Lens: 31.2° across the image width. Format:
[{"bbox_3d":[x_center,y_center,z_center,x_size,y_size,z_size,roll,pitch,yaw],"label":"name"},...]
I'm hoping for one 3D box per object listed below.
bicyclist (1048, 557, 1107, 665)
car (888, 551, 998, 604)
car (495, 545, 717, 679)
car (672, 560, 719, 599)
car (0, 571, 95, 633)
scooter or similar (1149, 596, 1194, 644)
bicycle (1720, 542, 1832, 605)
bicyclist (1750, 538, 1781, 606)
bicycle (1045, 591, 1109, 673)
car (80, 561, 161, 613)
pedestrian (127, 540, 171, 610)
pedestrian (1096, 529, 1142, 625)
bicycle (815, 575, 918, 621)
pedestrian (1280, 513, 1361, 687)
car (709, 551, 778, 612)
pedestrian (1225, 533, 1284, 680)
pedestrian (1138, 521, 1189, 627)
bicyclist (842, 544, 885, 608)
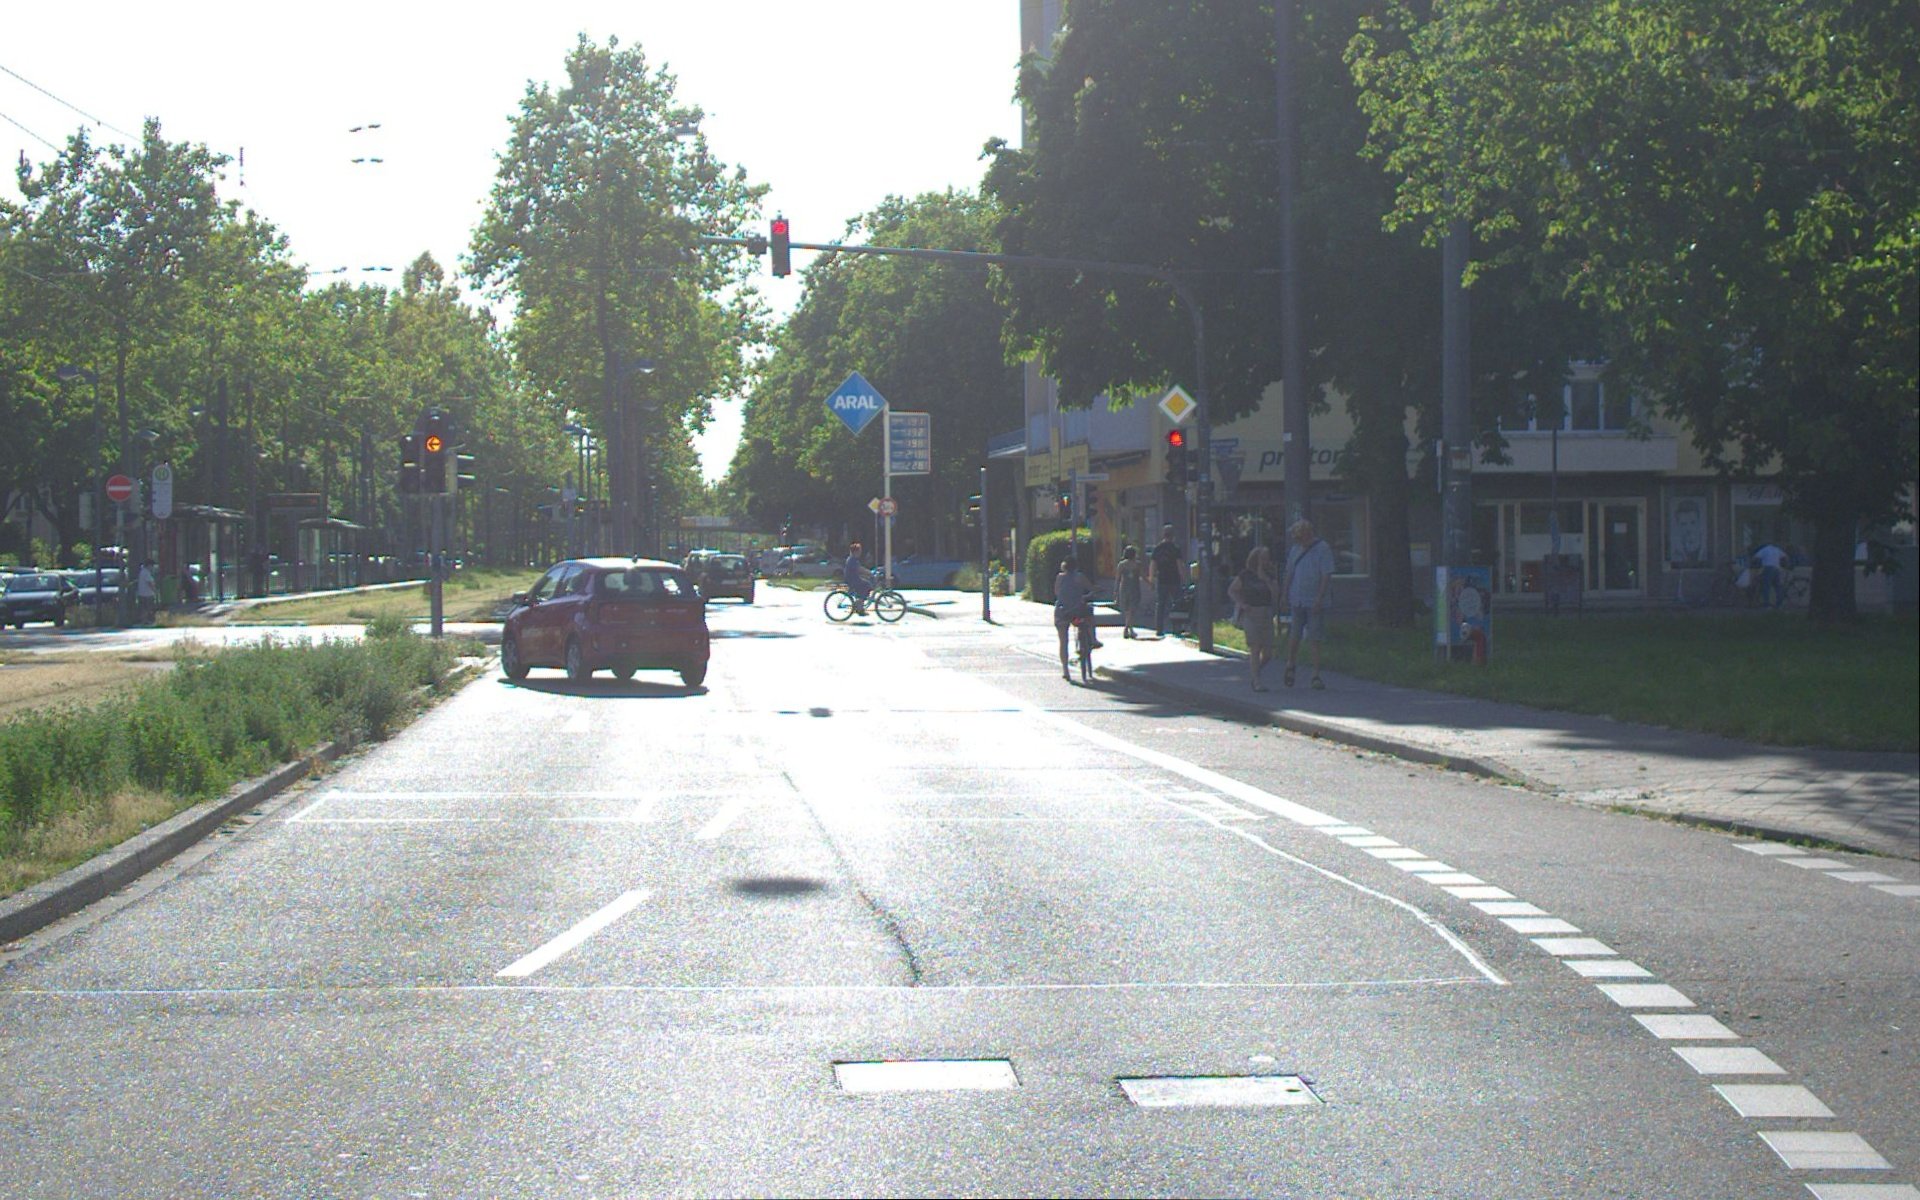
[{"bbox_3d":[1.468,0.131,43.107,0.638,1.318,0.803,2,0,-2],"label":"bicyclist"},{"bbox_3d":[-0.648,-0.863,131.693,3.988,1.853,2.011,2,0,5],"label":"car"},{"bbox_3d":[-4.305,0.117,41.357,1.694,1.503,3.700,1,1,-21],"label":"car"},{"bbox_3d":[-11.421,-0.897,148.171,1.893,1.605,4.501,2,1,-6],"label":"car"},{"bbox_3d":[-23.372,0.029,87.936,1.687,1.528,4.362,-1,1,-4],"label":"car"},{"bbox_3d":[3.375,0.310,54.791,0.597,0.735,0.681,2,0,-5],"label":"scooter or similar"},{"bbox_3d":[19.231,-0.619,81.013,2.469,1.394,0.608,2,0,-5],"label":"bicycle"},{"bbox_3d":[18.813,-0.658,80.307,0.527,1.562,0.464,2,0,-7],"label":"bicyclist"},{"bbox_3d":[1.454,0.389,42.928,0.648,0.969,1.804,2,1,-2],"label":"bicycle"},{"bbox_3d":[-23.732,-0.385,97.251,1.566,1.397,3.915,2,1,-4],"label":"car"},{"bbox_3d":[-19.043,-0.595,80.725,0.890,1.601,0.613,2,0,-4],"label":"pedestrian"},{"bbox_3d":[2.567,-0.376,55.413,0.647,1.517,0.496,2,0,8],"label":"pedestrian"},{"bbox_3d":[-2.173,-0.046,80.012,2.252,0.984,0.788,0,6,11],"label":"bicycle"},{"bbox_3d":[3.795,-0.007,36.212,0.703,1.783,0.694,-3,2,1],"label":"pedestrian"},{"bbox_3d":[-6.905,-0.606,109.372,1.968,1.853,4.001,2,1,-6],"label":"car"},{"bbox_3d":[3.110,0.066,36.323,0.529,1.523,0.627,-2,0,1],"label":"pedestrian"},{"bbox_3d":[3.281,-0.422,55.405,0.730,1.676,0.532,2,0,8],"label":"pedestrian"},{"bbox_3d":[-2.251,-0.564,79.999,0.769,1.466,0.897,-1,1,13],"label":"bicyclist"}]
